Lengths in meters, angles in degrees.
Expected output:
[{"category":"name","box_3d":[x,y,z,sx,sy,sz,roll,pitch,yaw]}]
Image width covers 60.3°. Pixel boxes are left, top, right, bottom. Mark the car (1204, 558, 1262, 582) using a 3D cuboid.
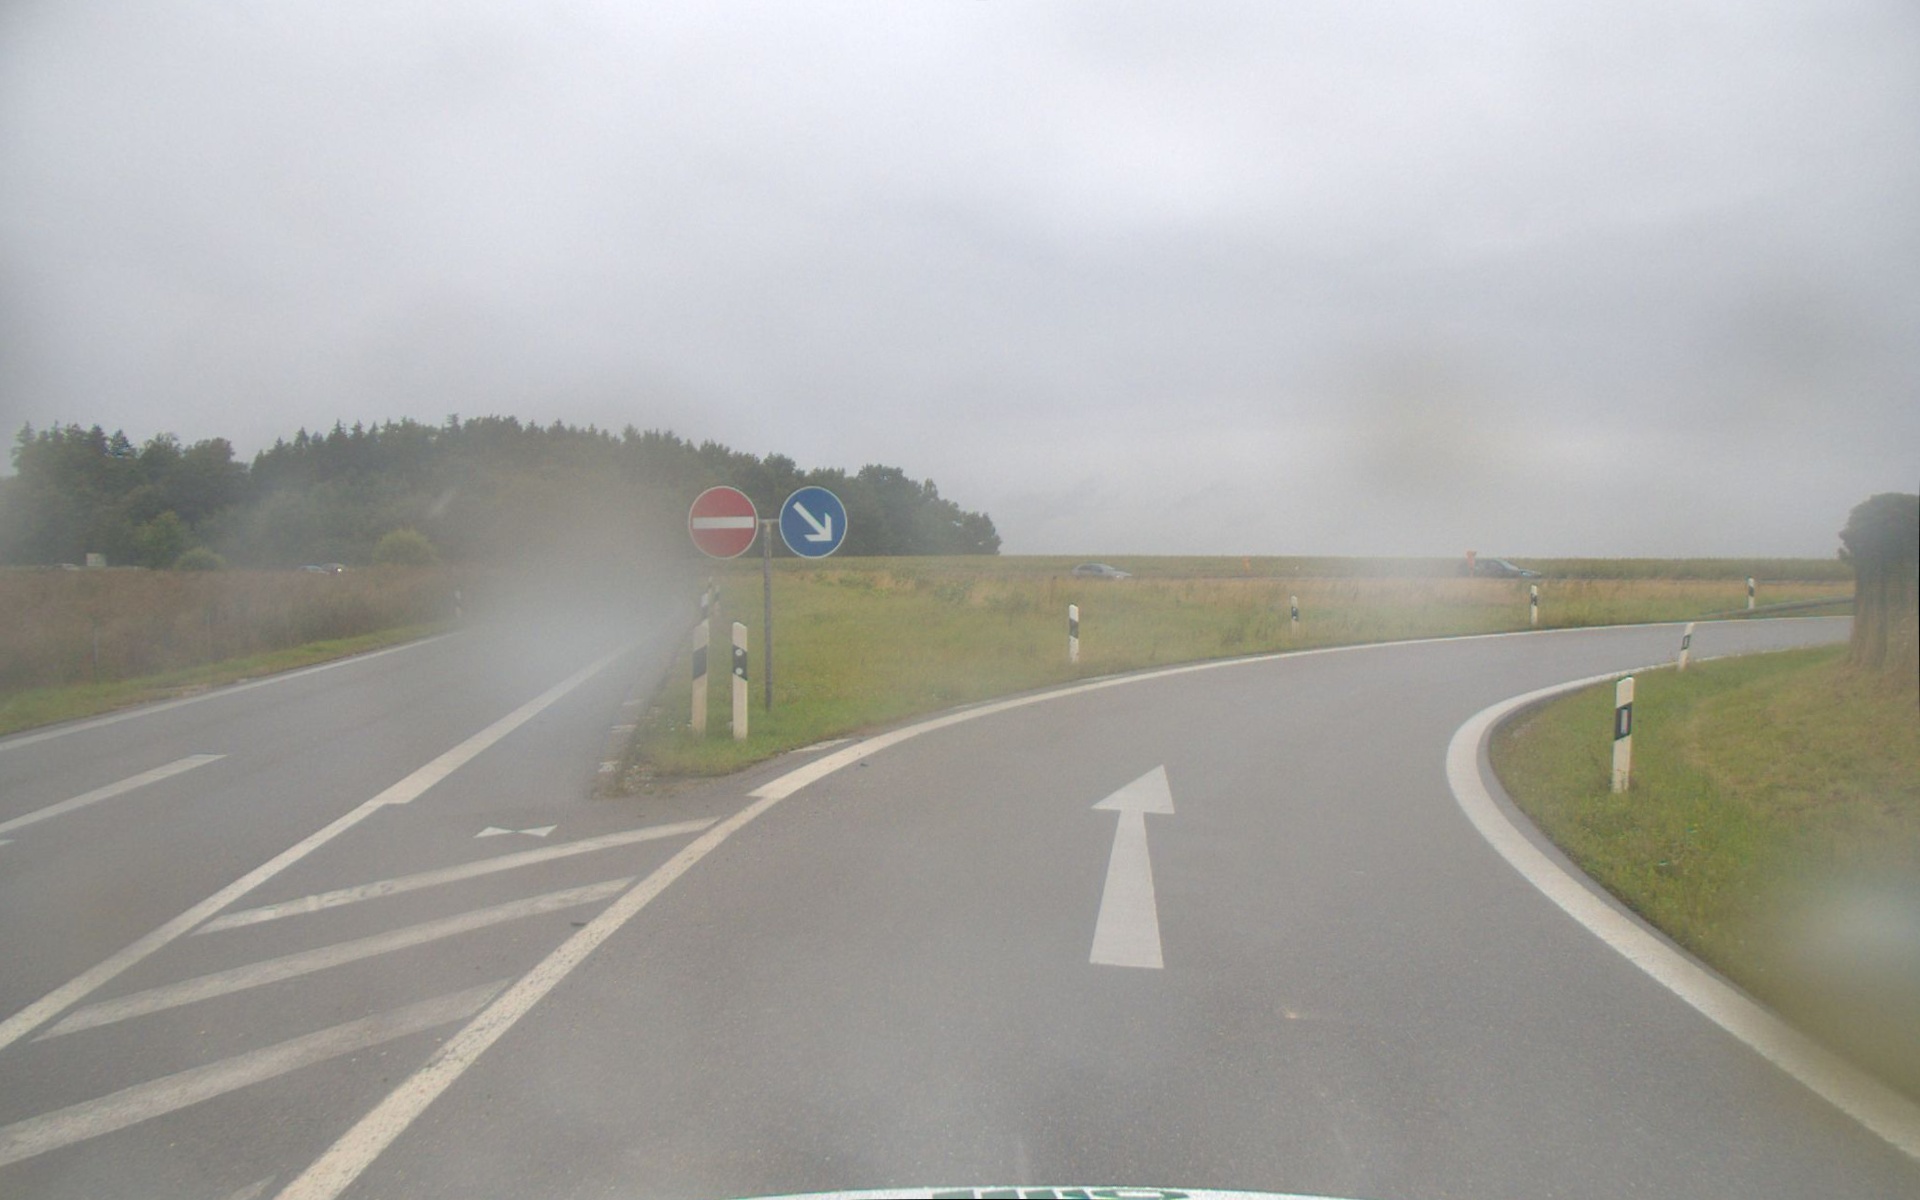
[{"category":"car","box_3d":[20.138,-2.208,122.140,3.925,1.767,1.727,0,2,39]}]
